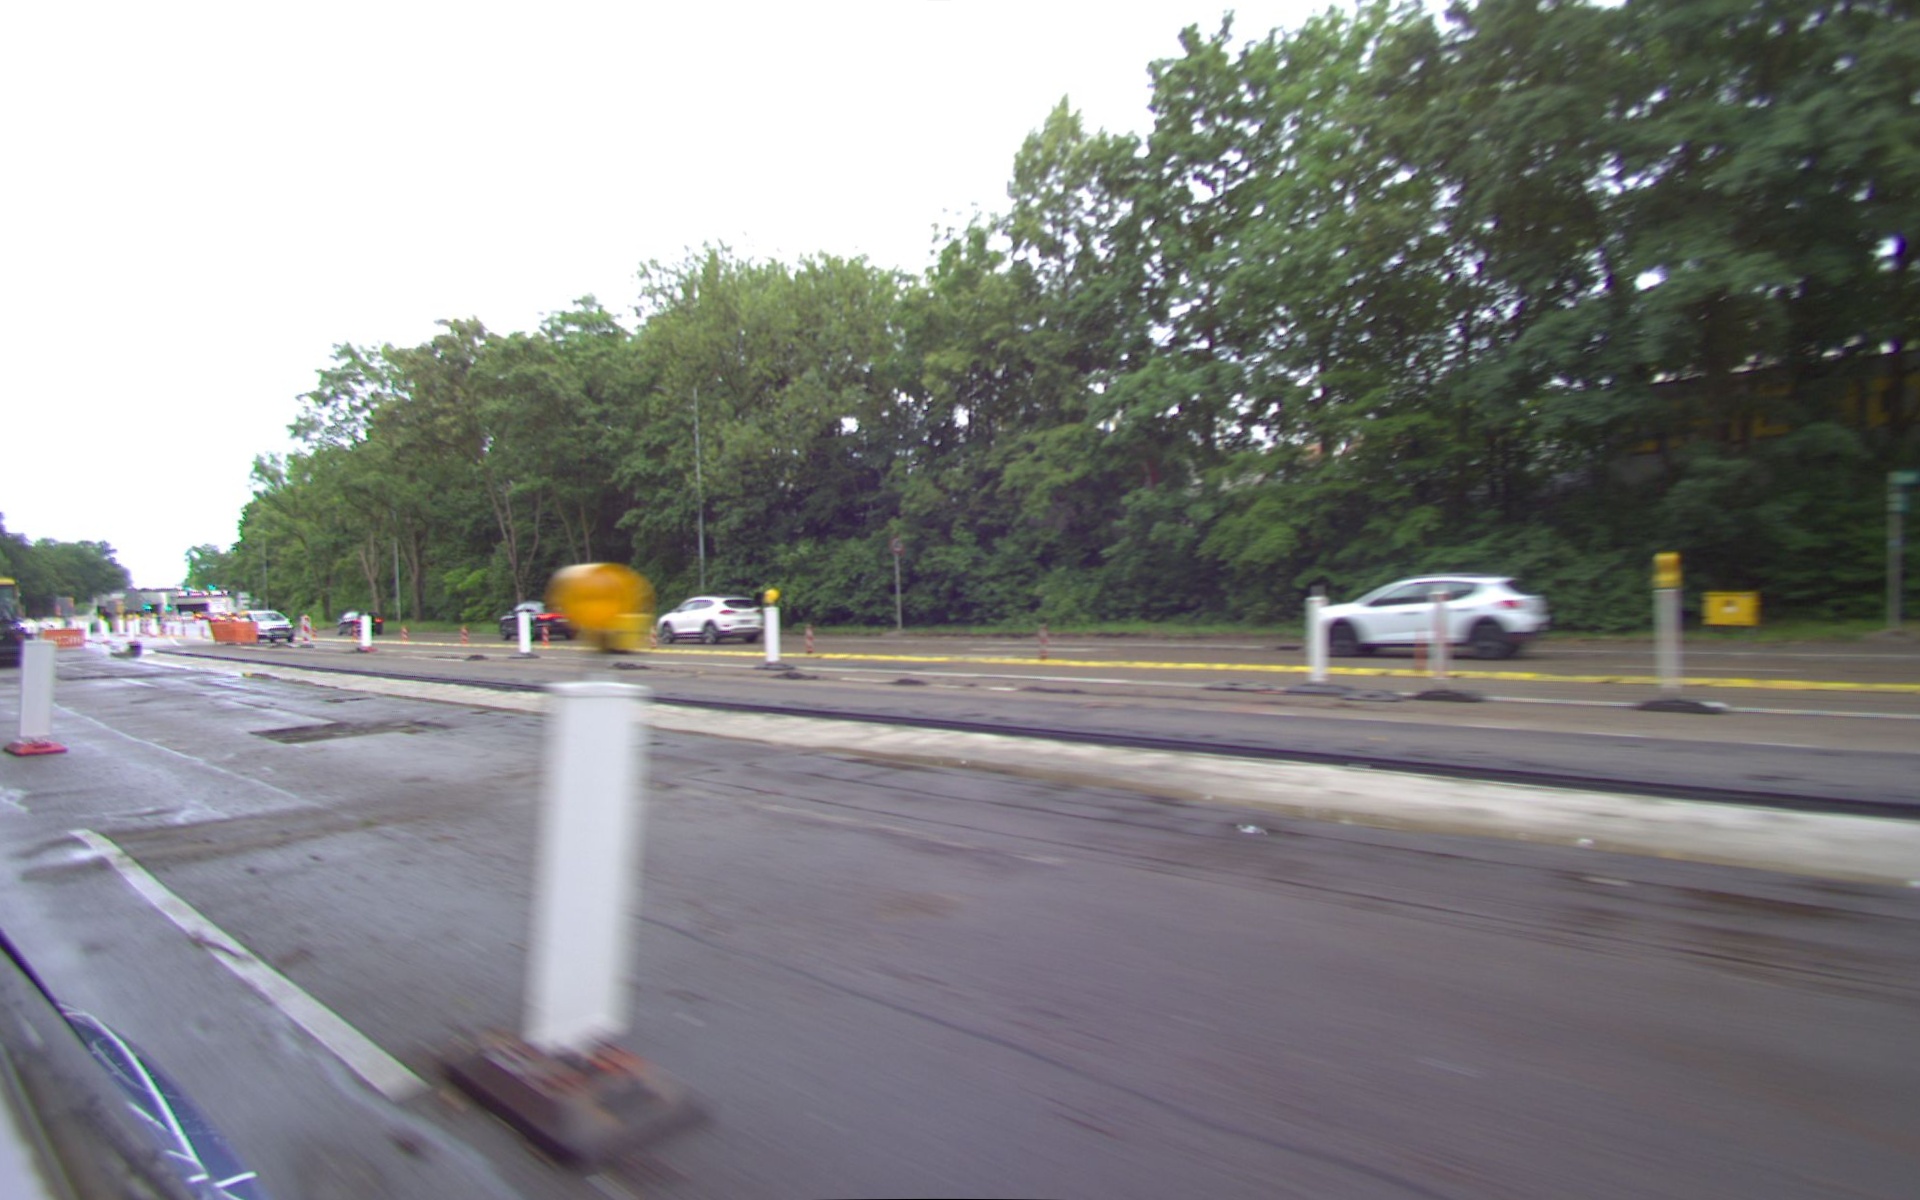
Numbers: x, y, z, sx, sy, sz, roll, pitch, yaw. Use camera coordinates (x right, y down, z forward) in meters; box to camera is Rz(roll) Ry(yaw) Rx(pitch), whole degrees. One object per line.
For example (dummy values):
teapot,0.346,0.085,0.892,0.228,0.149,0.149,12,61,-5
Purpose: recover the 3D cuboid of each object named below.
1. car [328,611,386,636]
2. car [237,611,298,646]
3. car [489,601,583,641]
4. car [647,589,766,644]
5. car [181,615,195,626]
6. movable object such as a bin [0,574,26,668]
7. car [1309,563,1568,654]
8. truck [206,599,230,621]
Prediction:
car,-37.976,1.496,63.686,4.680,1.463,1.765,-1,0,42
car,-34.760,1.406,50.754,3.863,1.596,1.769,-1,1,45
car,-18.666,0.914,44.457,4.911,1.676,1.759,-1,-1,40
car,-8.848,0.578,35.120,4.376,1.764,1.759,-1,0,40
car,-114.006,3.027,149.473,1.653,1.626,3.777,0,-1,-37
movable object such as a bin,-32.661,0.712,33.850,5.247,3.008,1.783,-1,0,44
car,9.000,0.186,19.242,4.155,1.553,1.649,-1,-2,41
truck,-136.210,1.855,185.784,3.101,3.860,9.671,-1,0,-34
